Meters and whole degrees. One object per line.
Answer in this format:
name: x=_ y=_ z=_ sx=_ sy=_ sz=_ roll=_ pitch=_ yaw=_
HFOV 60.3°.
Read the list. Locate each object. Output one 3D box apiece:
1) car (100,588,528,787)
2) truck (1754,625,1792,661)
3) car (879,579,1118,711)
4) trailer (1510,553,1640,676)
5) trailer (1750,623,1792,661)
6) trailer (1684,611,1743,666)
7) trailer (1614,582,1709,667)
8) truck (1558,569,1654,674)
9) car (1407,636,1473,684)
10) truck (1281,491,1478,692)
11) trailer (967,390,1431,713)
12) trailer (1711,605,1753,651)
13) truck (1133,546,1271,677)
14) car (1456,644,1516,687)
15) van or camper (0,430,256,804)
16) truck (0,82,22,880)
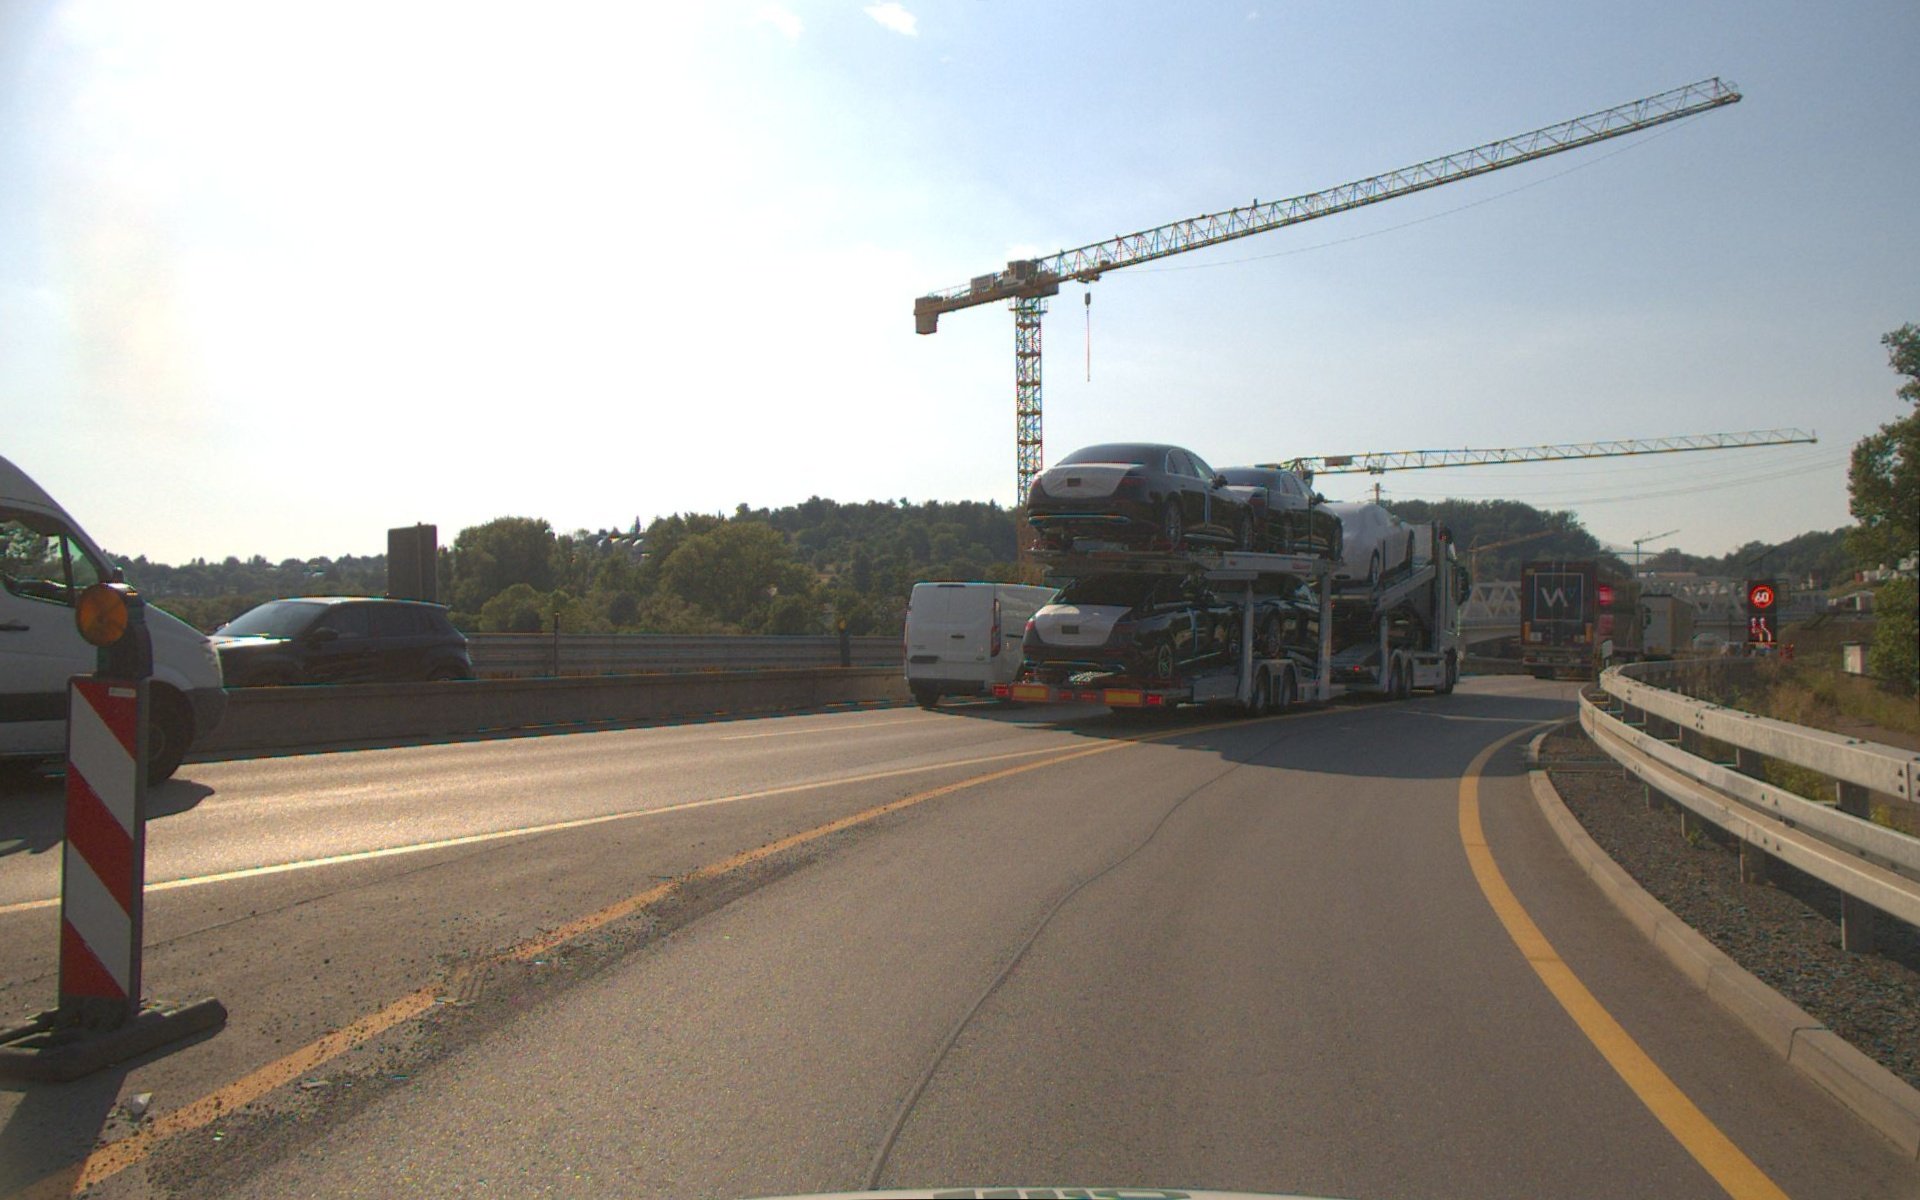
car: x=-7.415 y=0.948 z=19.483 sx=1.854 sy=2.016 sz=4.527 roll=1 pitch=-1 yaw=29
truck: x=100.587 y=5.347 z=204.648 sx=3.951 sy=4.361 sz=6.614 roll=-1 pitch=-2 yaw=28
car: x=0.787 y=0.742 z=28.267 sx=1.990 sy=2.016 sz=4.971 roll=1 pitch=-1 yaw=29
trailer: x=23.022 y=0.694 z=61.485 sx=2.903 sy=4.164 sz=10.774 roll=-2 pitch=-3 yaw=29
trailer: x=97.390 y=5.115 z=198.479 sx=4.018 sy=4.390 sz=14.230 roll=-1 pitch=-2 yaw=28
trailer: x=59.273 y=3.109 z=129.865 sx=3.320 sy=4.067 sz=14.723 roll=-1 pitch=-2 yaw=28
trailer: x=36.812 y=1.428 z=86.412 sx=3.320 sy=4.067 sz=14.723 roll=-1 pitch=-2 yaw=28
truck: x=26.685 y=0.955 z=68.179 sx=2.830 sy=4.067 sz=6.612 roll=-1 pitch=-2 yaw=29
car: x=18.917 y=2.361 z=65.060 sx=1.794 sy=1.783 sz=3.996 roll=-2 pitch=-3 yaw=26
truck: x=9.505 y=-0.059 z=36.988 sx=2.794 sy=4.067 sz=6.614 roll=-1 pitch=-2 yaw=28
trailer: x=4.980 y=-0.356 z=28.402 sx=2.802 sy=4.067 sz=15.722 roll=-1 pitch=-2 yaw=28
trailer: x=76.539 y=2.862 z=163.871 sx=3.044 sy=4.390 sz=14.230 roll=-1 pitch=-2 yaw=28
truck: x=8.223 y=0.479 z=55.603 sx=2.577 sy=4.138 sz=6.119 roll=-2 pitch=-3 yaw=28
car: x=21.792 y=2.713 z=68.420 sx=1.794 sy=1.683 sz=3.996 roll=-2 pitch=-3 yaw=26
van or camper: x=-8.073 y=0.099 z=11.562 sx=1.955 sy=2.666 sz=5.896 roll=0 pitch=-2 yaw=27
truck: x=-6.936 y=-0.547 z=5.723 sx=2.432 sy=3.947 sz=6.003 roll=-1 pitch=-2 yaw=27
